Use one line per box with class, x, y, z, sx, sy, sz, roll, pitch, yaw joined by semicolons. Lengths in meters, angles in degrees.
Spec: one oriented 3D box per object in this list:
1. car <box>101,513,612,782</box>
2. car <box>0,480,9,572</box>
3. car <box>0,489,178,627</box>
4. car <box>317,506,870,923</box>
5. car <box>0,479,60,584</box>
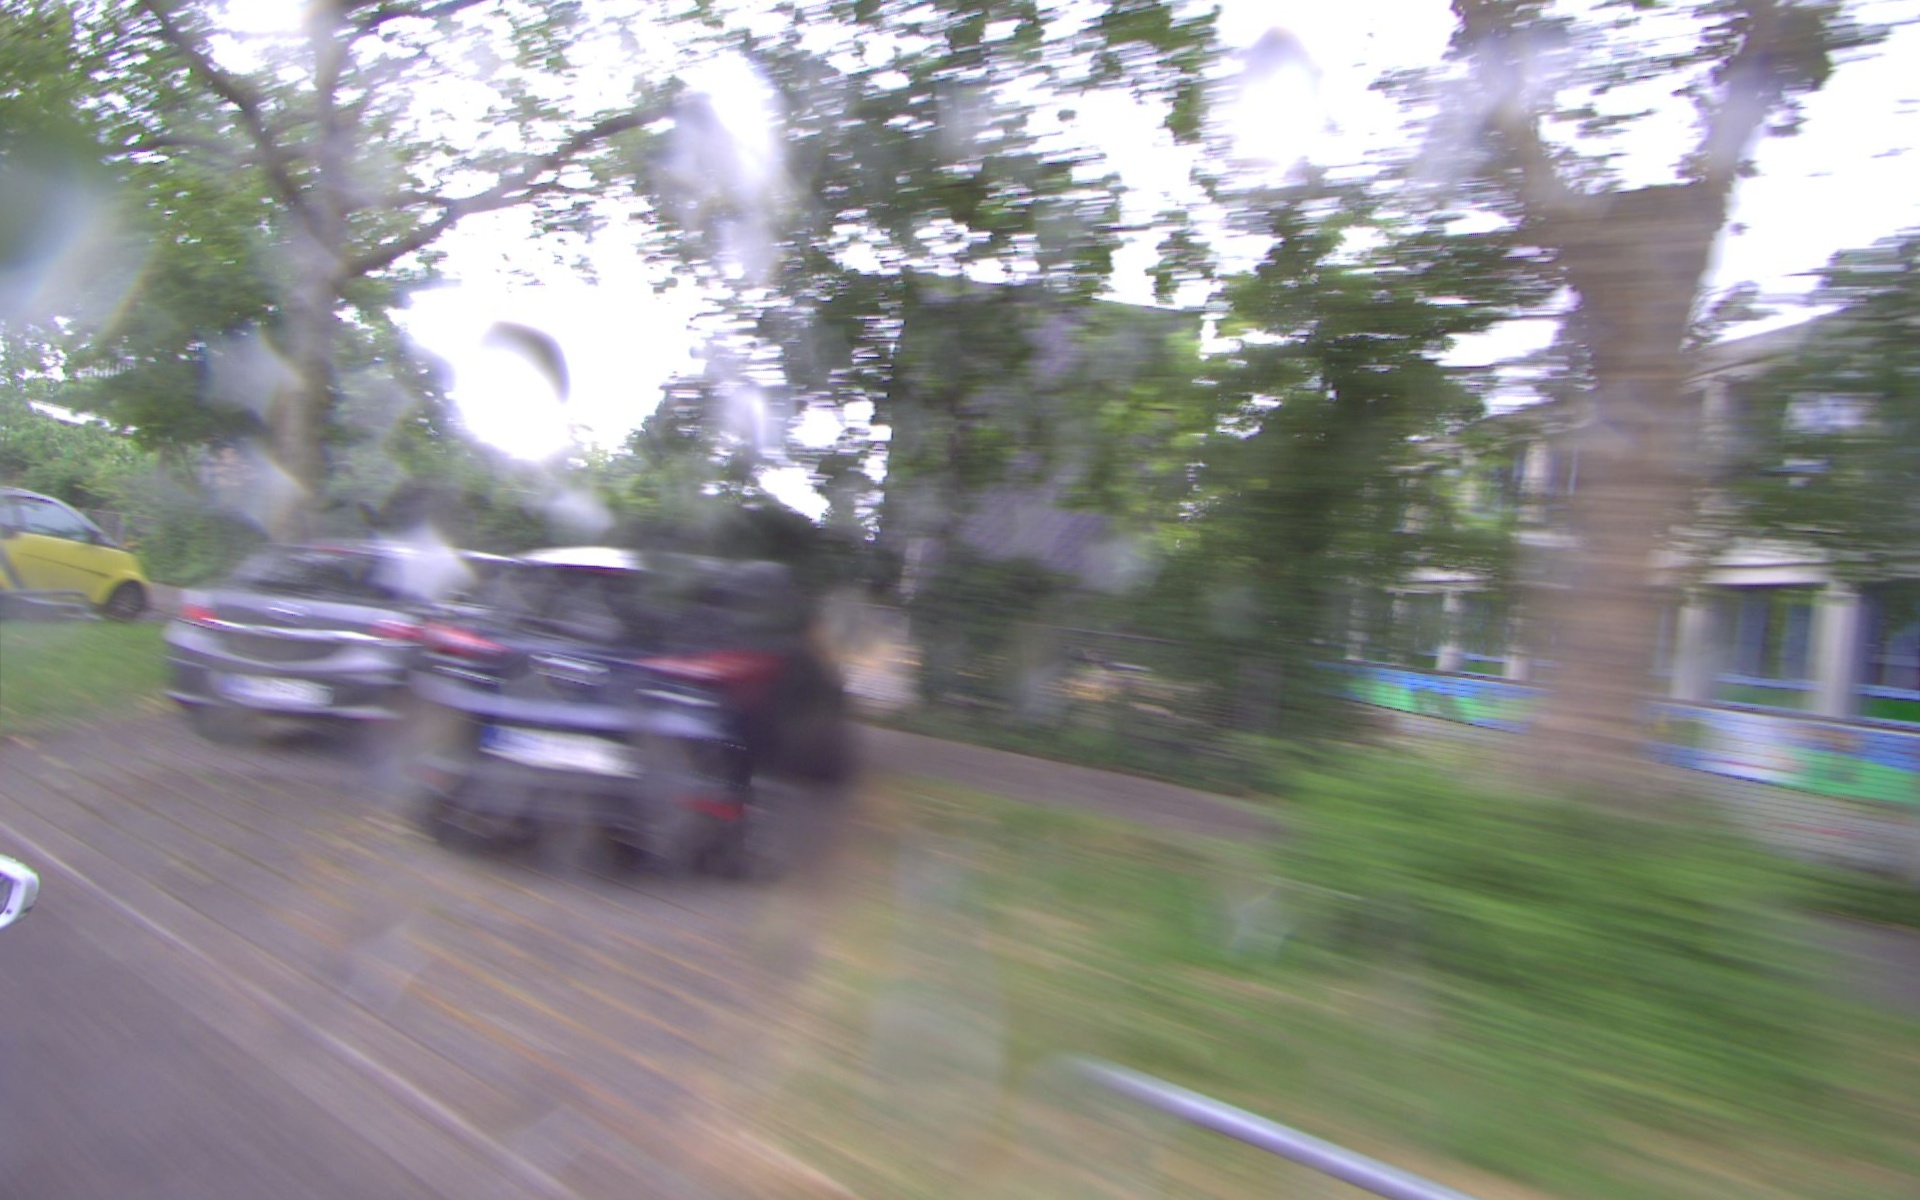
car;-4.259;0.254;7.970;1.711;1.436;4.058;5;1;-4
car;-18.456;-1.417;17.019;1.563;1.693;3.272;5;1;-1
car;-11.022;-0.528;11.584;1.573;1.485;2.904;5;1;4
car;-1.714;0.464;6.129;1.848;1.552;3.802;7;1;0
car;-15.905;-1.135;14.924;1.625;1.662;4.042;5;1;-5
